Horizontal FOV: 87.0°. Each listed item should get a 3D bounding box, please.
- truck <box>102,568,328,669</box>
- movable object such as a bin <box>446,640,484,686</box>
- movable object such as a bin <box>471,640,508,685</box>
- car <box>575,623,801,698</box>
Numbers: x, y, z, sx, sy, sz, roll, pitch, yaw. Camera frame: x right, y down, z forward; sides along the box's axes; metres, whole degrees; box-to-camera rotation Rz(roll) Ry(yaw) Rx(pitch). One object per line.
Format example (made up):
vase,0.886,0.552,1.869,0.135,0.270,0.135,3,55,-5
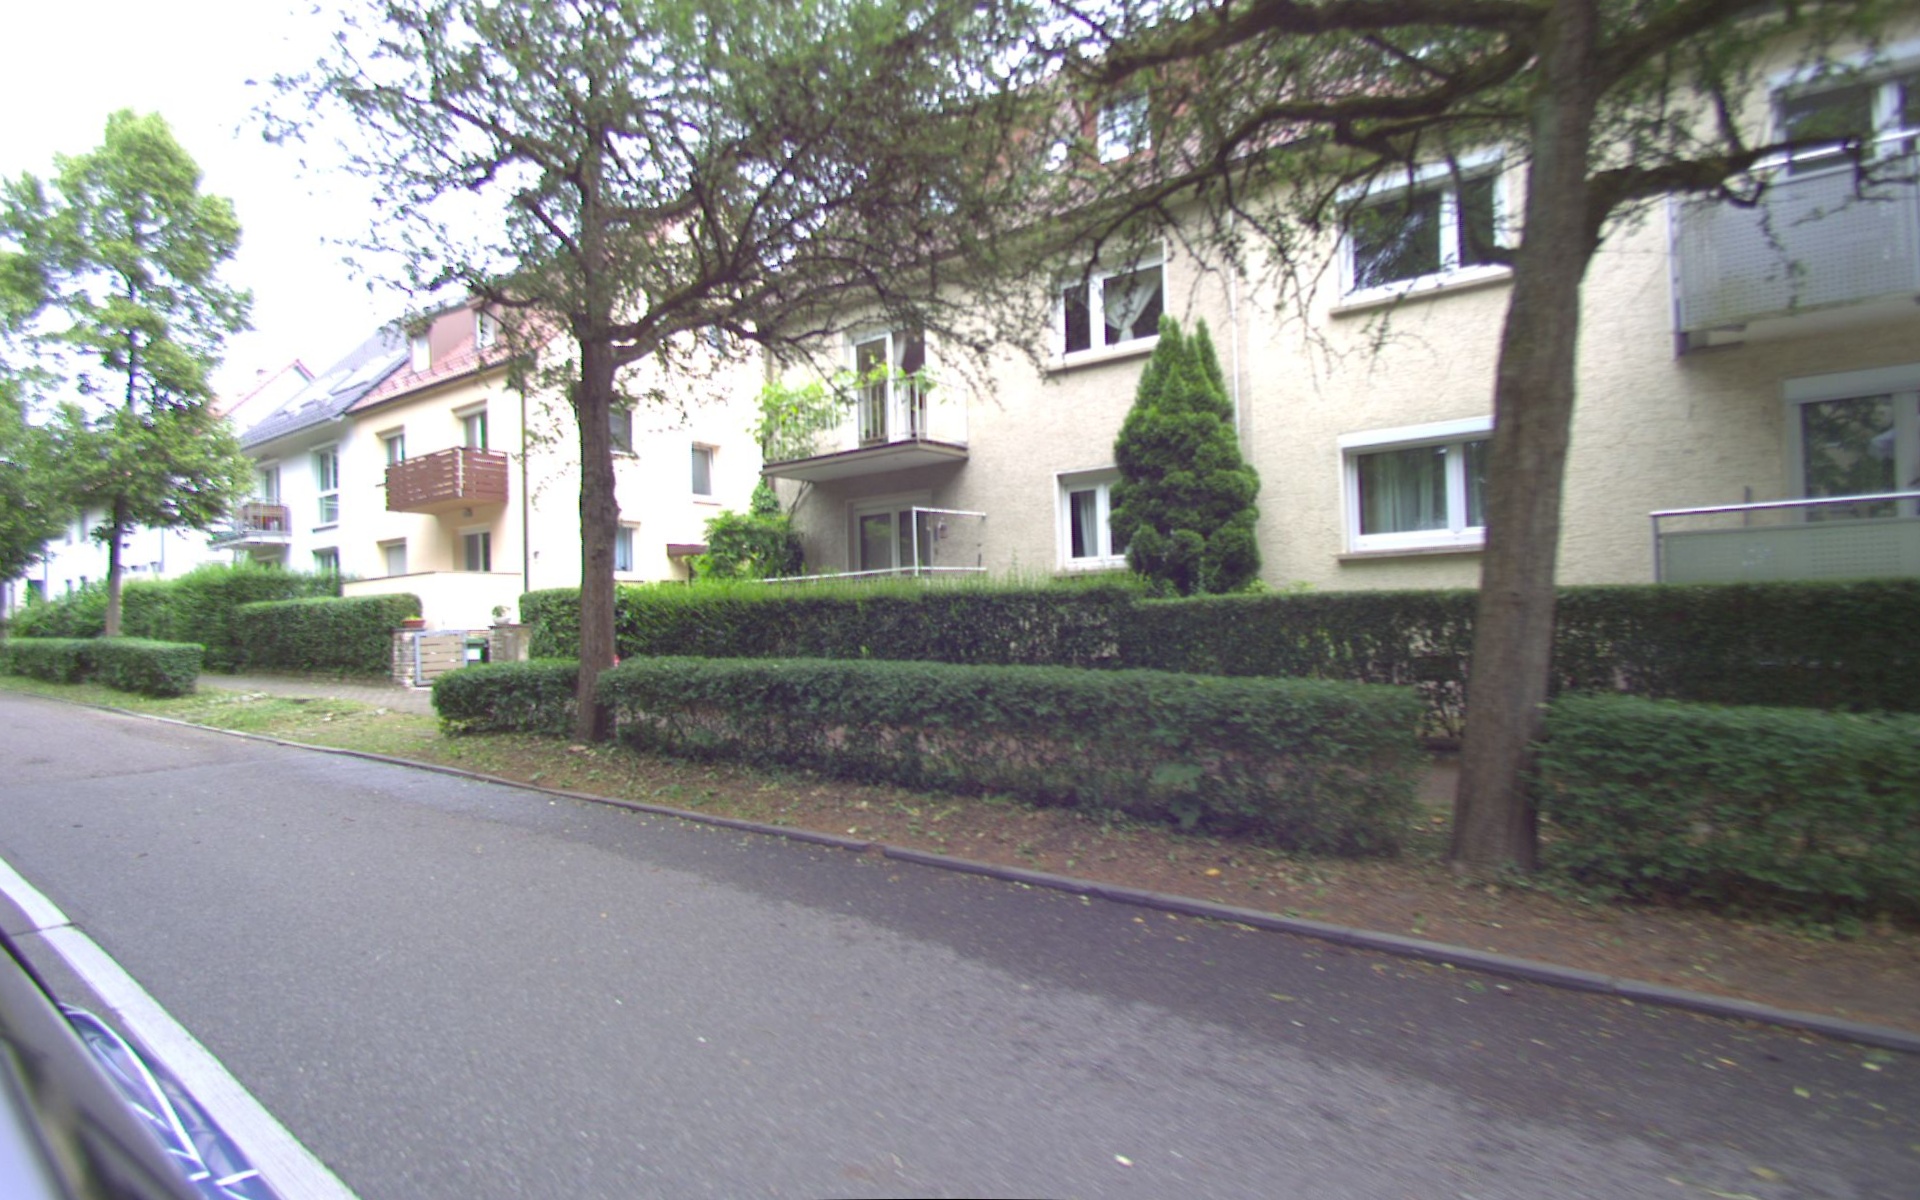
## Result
truck,-25.267,0.604,34.547,2.512,3.155,5.746,-2,-1,35
movable object such as a bin,-10.204,1.289,20.871,0.569,0.918,0.484,-1,-2,35
movable object such as a bin,-9.912,1.302,21.318,0.569,0.918,0.484,-1,-2,35
car,-5.009,1.066,19.103,1.695,1.208,3.951,-1,-1,36
